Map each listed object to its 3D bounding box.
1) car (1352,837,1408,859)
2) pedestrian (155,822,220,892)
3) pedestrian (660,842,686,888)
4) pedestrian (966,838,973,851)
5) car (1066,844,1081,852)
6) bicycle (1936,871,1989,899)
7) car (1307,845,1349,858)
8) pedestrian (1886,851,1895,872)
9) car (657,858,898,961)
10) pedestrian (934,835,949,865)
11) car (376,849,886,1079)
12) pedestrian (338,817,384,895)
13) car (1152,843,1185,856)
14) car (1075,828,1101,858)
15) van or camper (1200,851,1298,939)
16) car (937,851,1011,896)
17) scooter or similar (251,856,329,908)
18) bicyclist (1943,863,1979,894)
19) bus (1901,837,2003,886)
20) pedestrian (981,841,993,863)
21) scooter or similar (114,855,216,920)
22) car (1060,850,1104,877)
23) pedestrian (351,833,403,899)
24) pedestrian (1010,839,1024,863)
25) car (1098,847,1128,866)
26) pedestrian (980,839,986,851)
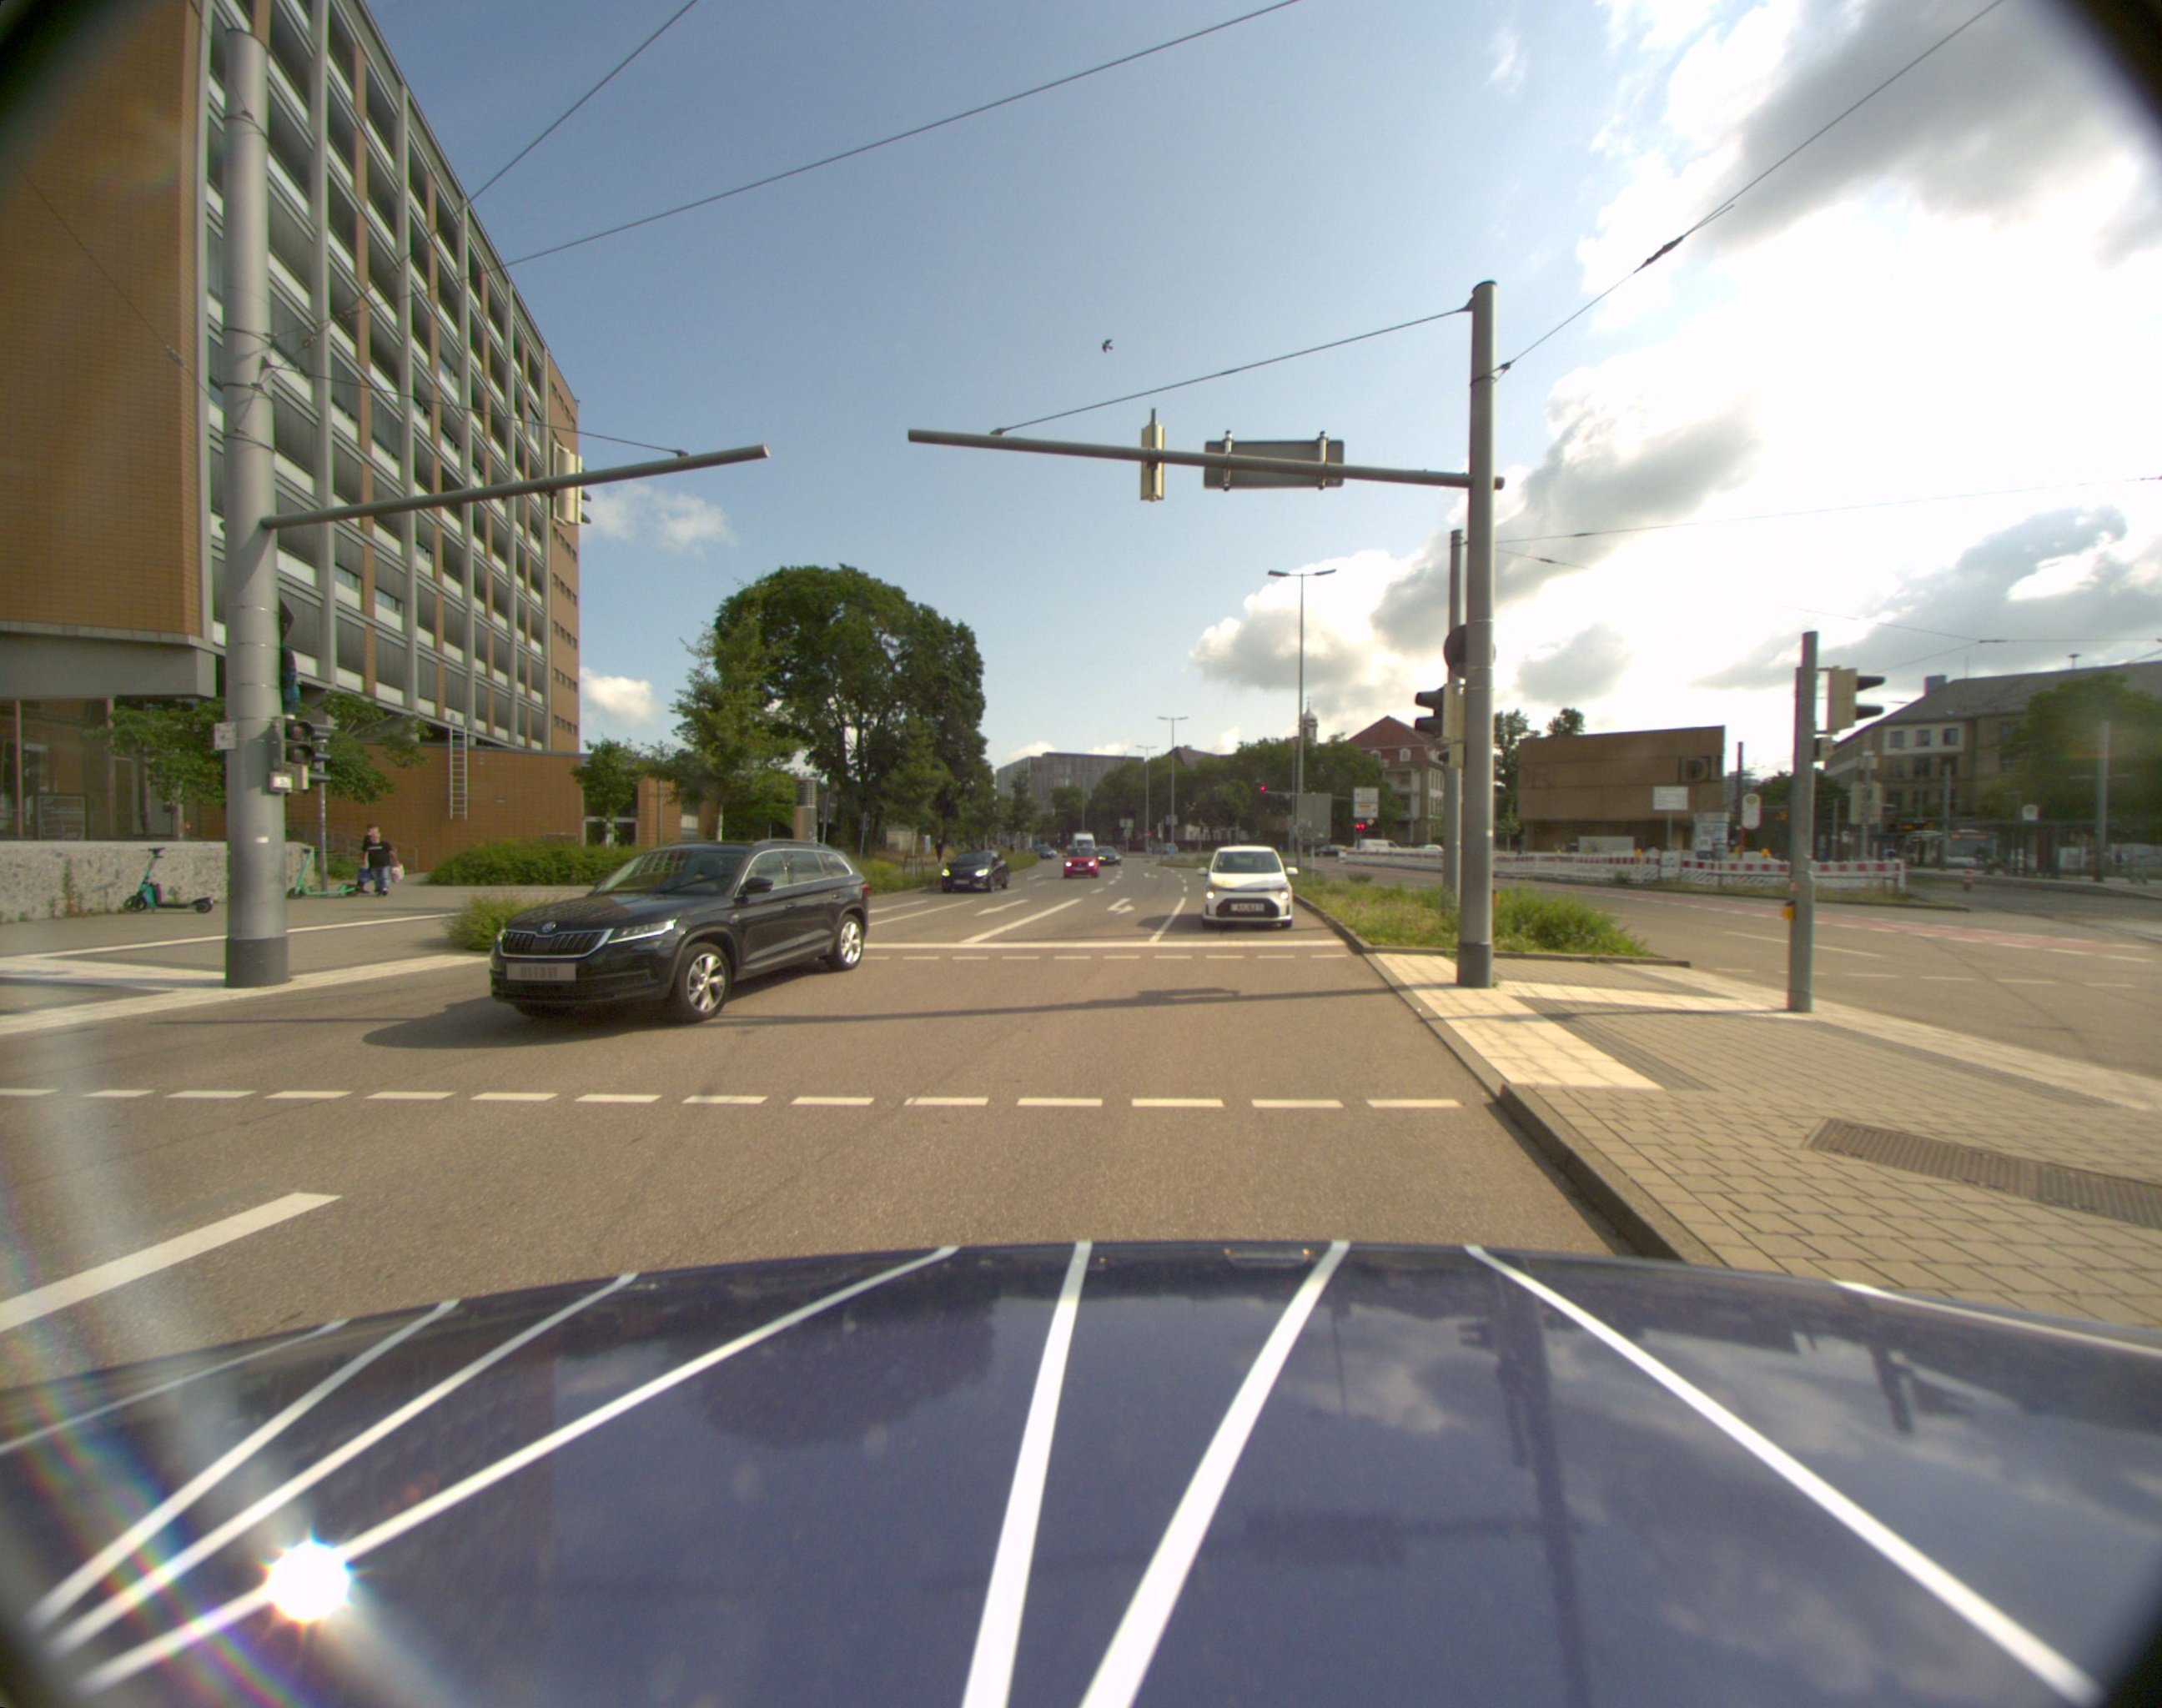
[{"bbox_3d":[31.053,-0.626,78.911,5.076,2.002,1.998,-3,0,-15],"label":"car"},{"bbox_3d":[-20.846,0.072,17.737,0.762,1.579,0.941,2,0,41],"label":"pedestrian"},{"bbox_3d":[-13.678,0.354,25.481,0.479,1.512,0.582,1,1,25],"label":"pedestrian"},{"bbox_3d":[-16.303,-1.389,111.302,0.987,2.002,1.129,1,1,-6],"label":"pedestrian"},{"bbox_3d":[-1.468,-1.121,147.228,1.959,1.479,5.095,-1,0,-11],"label":"car"},{"bbox_3d":[33.616,1.178,29.017,0.810,0.986,2.074,-3,-3,36],"label":"bicycle"},{"bbox_3d":[26.838,-0.286,82.676,4.134,1.383,1.756,0,1,-19],"label":"car"},{"bbox_3d":[60.874,0.549,57.157,0.357,1.593,0.365,-2,0,33],"label":"pedestrian"},{"bbox_3d":[-5.496,0.931,14.552,1.997,1.390,4.511,-4,2,13],"label":"car"},{"bbox_3d":[-8.881,-0.275,48.379,0.759,1.860,0.645,1,1,10],"label":"pedestrian"},{"bbox_3d":[-4.070,0.807,8.076,1.997,1.659,4.687,-1,1,11],"label":"car"},{"bbox_3d":[-19.096,0.048,20.177,0.809,2.002,0.722,0,2,-38],"label":"pedestrian"},{"bbox_3d":[11.348,-0.545,99.393,2.003,1.559,4.772,-1,0,-26],"label":"car"},{"bbox_3d":[0.685,-1.079,76.192,2.484,2.863,6.147,1,1,0],"label":"car"},{"bbox_3d":[3.291,0.694,14.967,1.625,1.467,4.003,0,0,12],"label":"van or camper"},{"bbox_3d":[-3.702,0.644,26.976,1.712,1.445,4.002,-1,0,5],"label":"car"},{"bbox_3d":[-17.887,0.614,17.212,1.189,1.124,0.402,0,0,-41],"label":"scooter or similar"},{"bbox_3d":[33.618,0.946,29.037,0.695,1.145,0.740,-3,-2,36],"label":"bicyclist"},{"bbox_3d":[69.907,0.487,61.310,2.957,3.487,12.278,-2,0,38],"label":"bus"},{"bbox_3d":[-8.931,-0.180,72.453,0.987,2.002,1.129,-3,0,-6],"label":"pedestrian"},{"bbox_3d":[-17.159,0.615,14.251,1.187,1.189,0.403,0,0,-16],"label":"scooter or similar"},{"bbox_3d":[0.097,0.466,38.195,1.607,1.207,3.012,-3,1,10],"label":"car"},{"bbox_3d":[-17.278,0.298,18.667,0.774,1.579,0.763,2,0,-31],"label":"pedestrian"},{"bbox_3d":[-5.389,-0.250,63.782,0.987,2.002,1.129,-3,0,-6],"label":"pedestrian"},{"bbox_3d":[2.507,0.162,58.114,1.998,1.273,4.546,-3,0,6],"label":"car"},{"bbox_3d":[-15.833,-1.491,122.646,0.987,2.002,1.129,1,1,-7],"label":"pedestrian"}]
